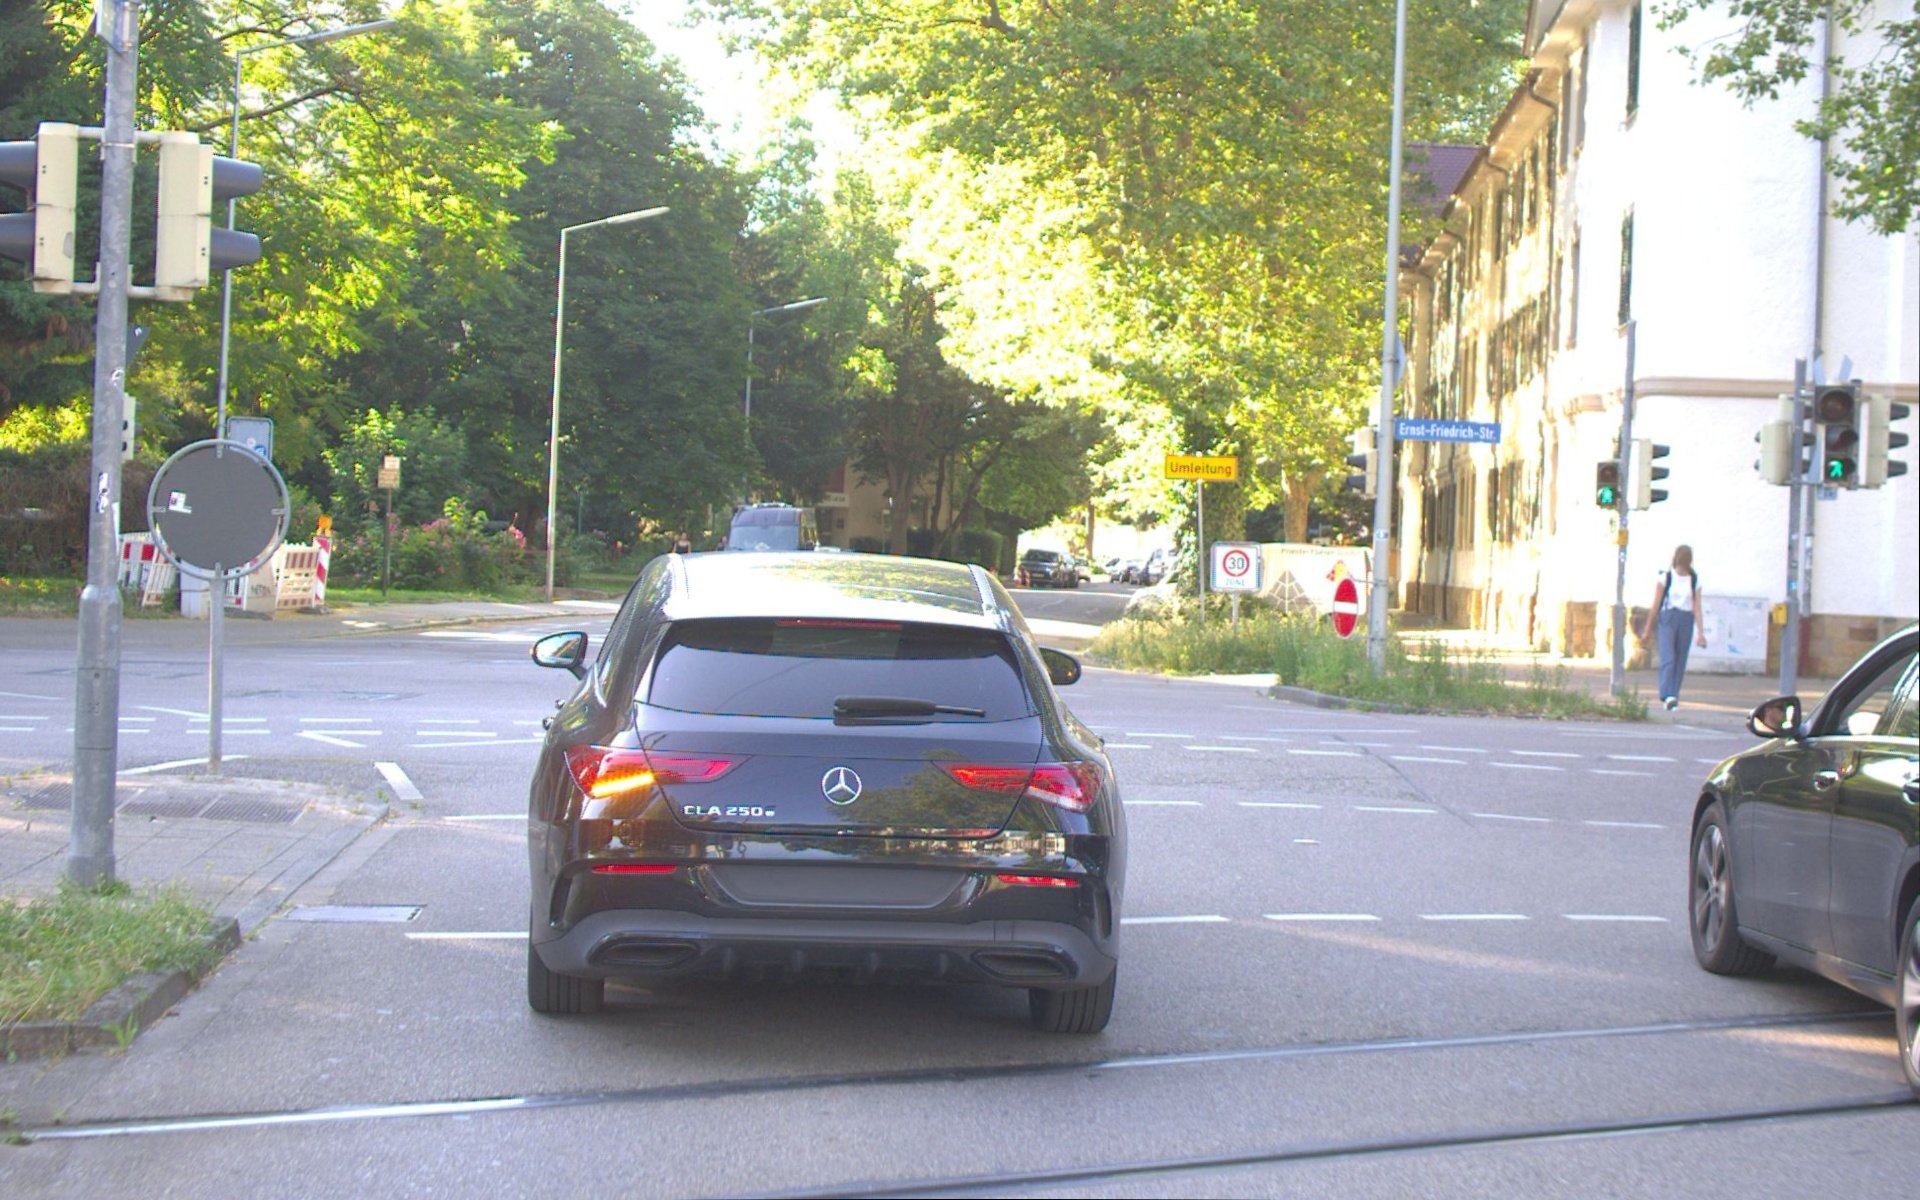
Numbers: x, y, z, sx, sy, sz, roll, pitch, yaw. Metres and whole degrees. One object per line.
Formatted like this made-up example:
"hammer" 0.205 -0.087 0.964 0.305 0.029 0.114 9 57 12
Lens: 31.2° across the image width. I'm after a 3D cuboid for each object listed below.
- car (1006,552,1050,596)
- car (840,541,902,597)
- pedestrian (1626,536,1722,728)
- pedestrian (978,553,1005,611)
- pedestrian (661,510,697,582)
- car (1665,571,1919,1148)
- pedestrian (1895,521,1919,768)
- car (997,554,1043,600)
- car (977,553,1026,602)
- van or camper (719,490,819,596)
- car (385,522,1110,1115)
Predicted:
"car" 2.881 -1.096 145.668 1.734 1.759 4.019 3 0 2
"car" -2.936 -1.017 113.824 1.734 1.759 3.970 3 0 2
"pedestrian" 7.302 0.318 35.185 0.705 1.911 0.839 3 0 -1
"pedestrian" 1.061 -0.618 117.280 0.705 1.911 0.839 3 0 -8
"pedestrian" -7.591 -1.454 92.882 0.705 1.911 0.839 3 0 8
"car" 3.681 0.784 10.950 1.889 1.485 4.382 3 3 0
"pedestrian" 7.780 0.356 26.679 0.705 1.911 0.839 3 0 -1
"car" 2.412 -0.921 137.597 1.734 1.759 4.019 3 0 2
"car" 1.599 -0.866 132.831 1.734 1.759 4.019 3 0 2
"van or camper" -4.804 -1.416 87.218 1.994 2.532 4.650 3 0 2
"car" -0.510 0.555 11.500 1.890 1.445 4.000 3 3 3
